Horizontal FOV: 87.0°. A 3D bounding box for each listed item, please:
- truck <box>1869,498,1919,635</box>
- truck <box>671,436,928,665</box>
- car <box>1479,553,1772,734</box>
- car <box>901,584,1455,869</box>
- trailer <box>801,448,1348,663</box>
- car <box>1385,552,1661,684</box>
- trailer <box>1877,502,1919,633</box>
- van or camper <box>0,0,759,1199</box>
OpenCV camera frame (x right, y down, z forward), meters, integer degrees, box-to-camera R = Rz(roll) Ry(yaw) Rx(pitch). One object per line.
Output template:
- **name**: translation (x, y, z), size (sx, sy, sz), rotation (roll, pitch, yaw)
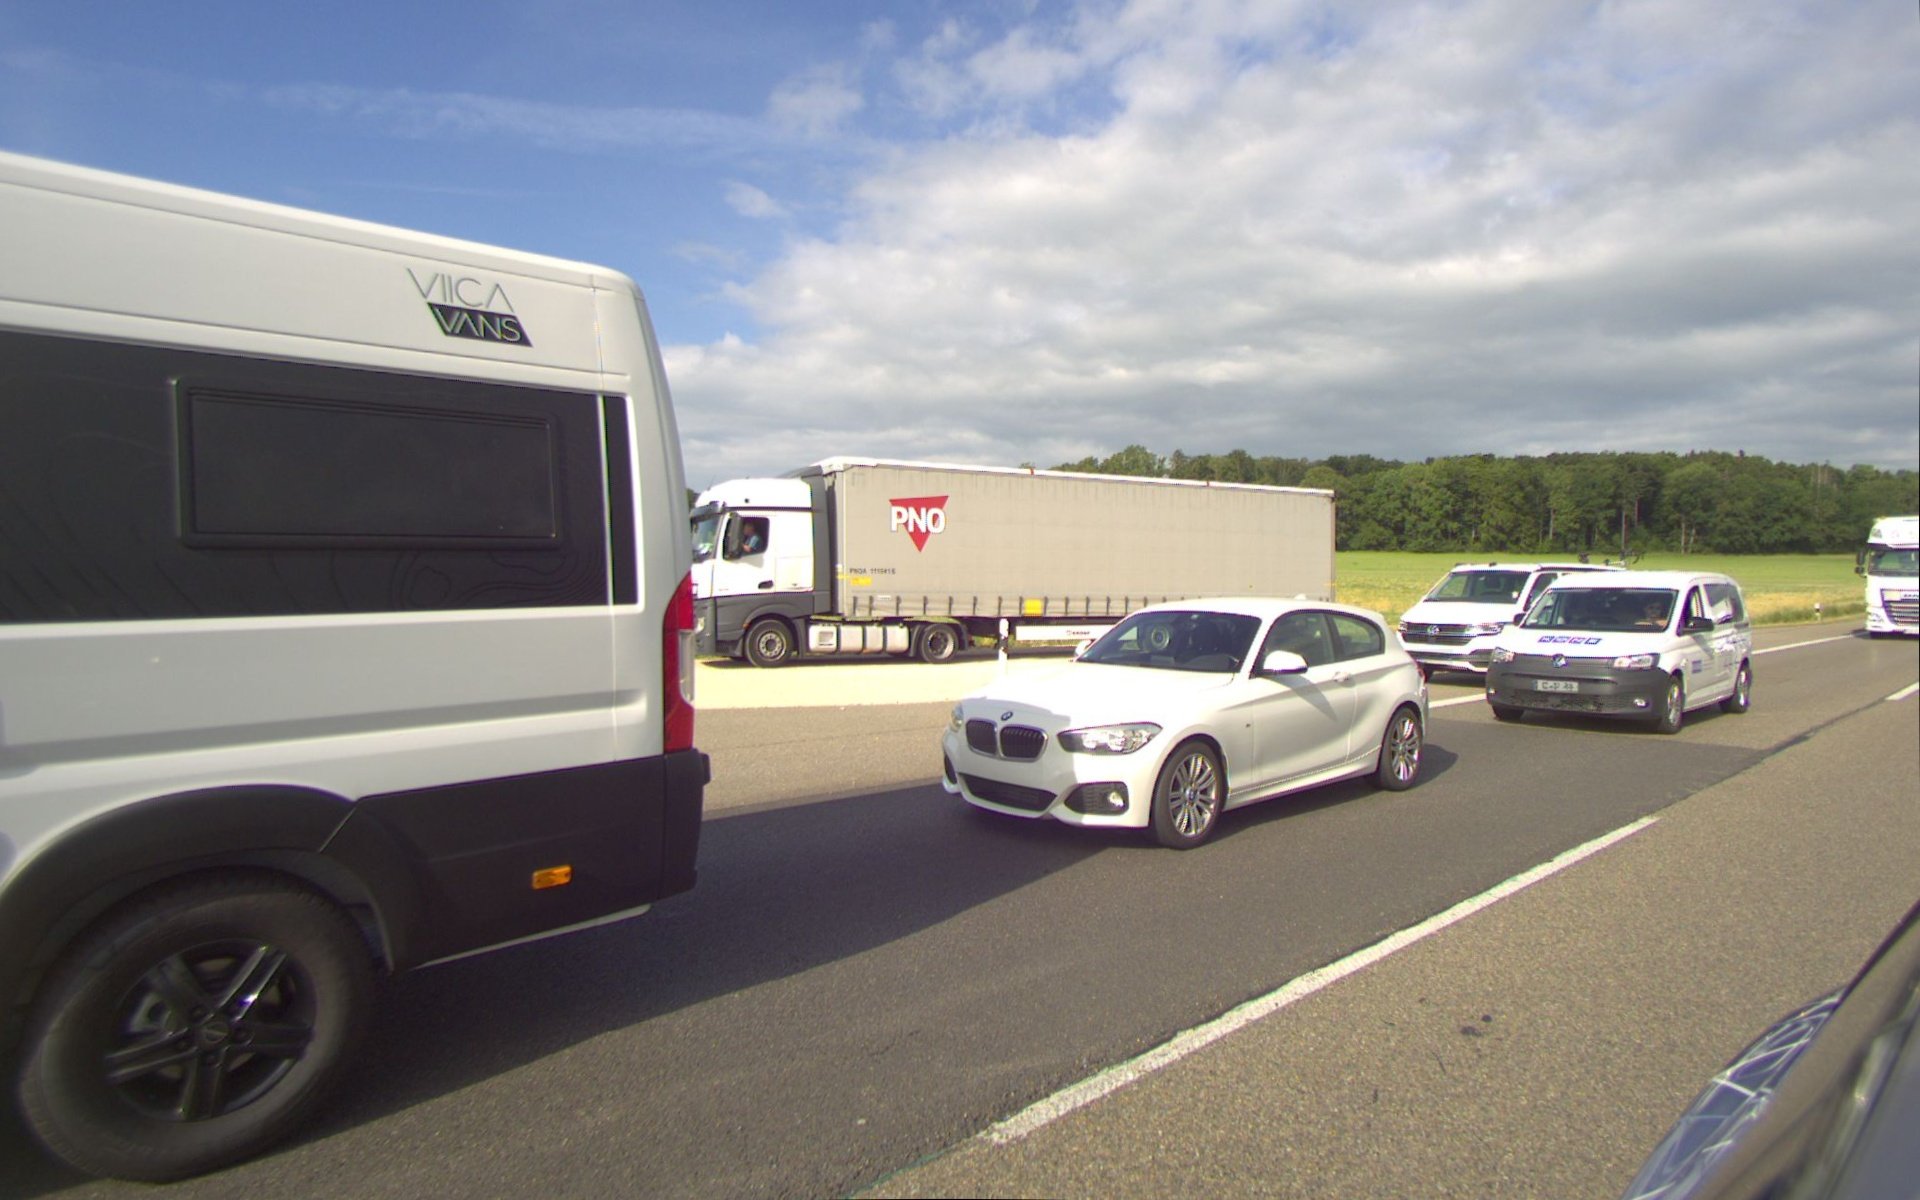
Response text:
- **truck**: translation (31.869, -1.078, 32.944), size (5.667, 4.226, 2.733), rotation (-1, 1, -41)
- **truck**: translation (-3.336, -0.925, 20.892), size (4.662, 4.226, 2.727), rotation (0, 0, -25)
- **car**: translation (8.094, 0.418, 12.131), size (4.620, 1.779, 1.727), rotation (0, 0, -41)
- **car**: translation (1.740, 0.625, 7.169), size (4.158, 1.450, 1.706), rotation (0, 0, -41)
- **trailer**: translation (3.189, -0.877, 24.049), size (13.543, 4.213, 2.748), rotation (0, 0, -26)
- **car**: translation (9.571, 0.245, 17.059), size (5.164, 1.949, 1.802), rotation (0, 0, -32)
- **trailer**: translation (36.313, -1.180, 36.885), size (13.777, 4.212, 2.739), rotation (-1, 1, -41)
- **van or camper**: translation (-3.730, 0.002, 2.157), size (6.222, 2.714, 2.219), rotation (0, 1, -41)
